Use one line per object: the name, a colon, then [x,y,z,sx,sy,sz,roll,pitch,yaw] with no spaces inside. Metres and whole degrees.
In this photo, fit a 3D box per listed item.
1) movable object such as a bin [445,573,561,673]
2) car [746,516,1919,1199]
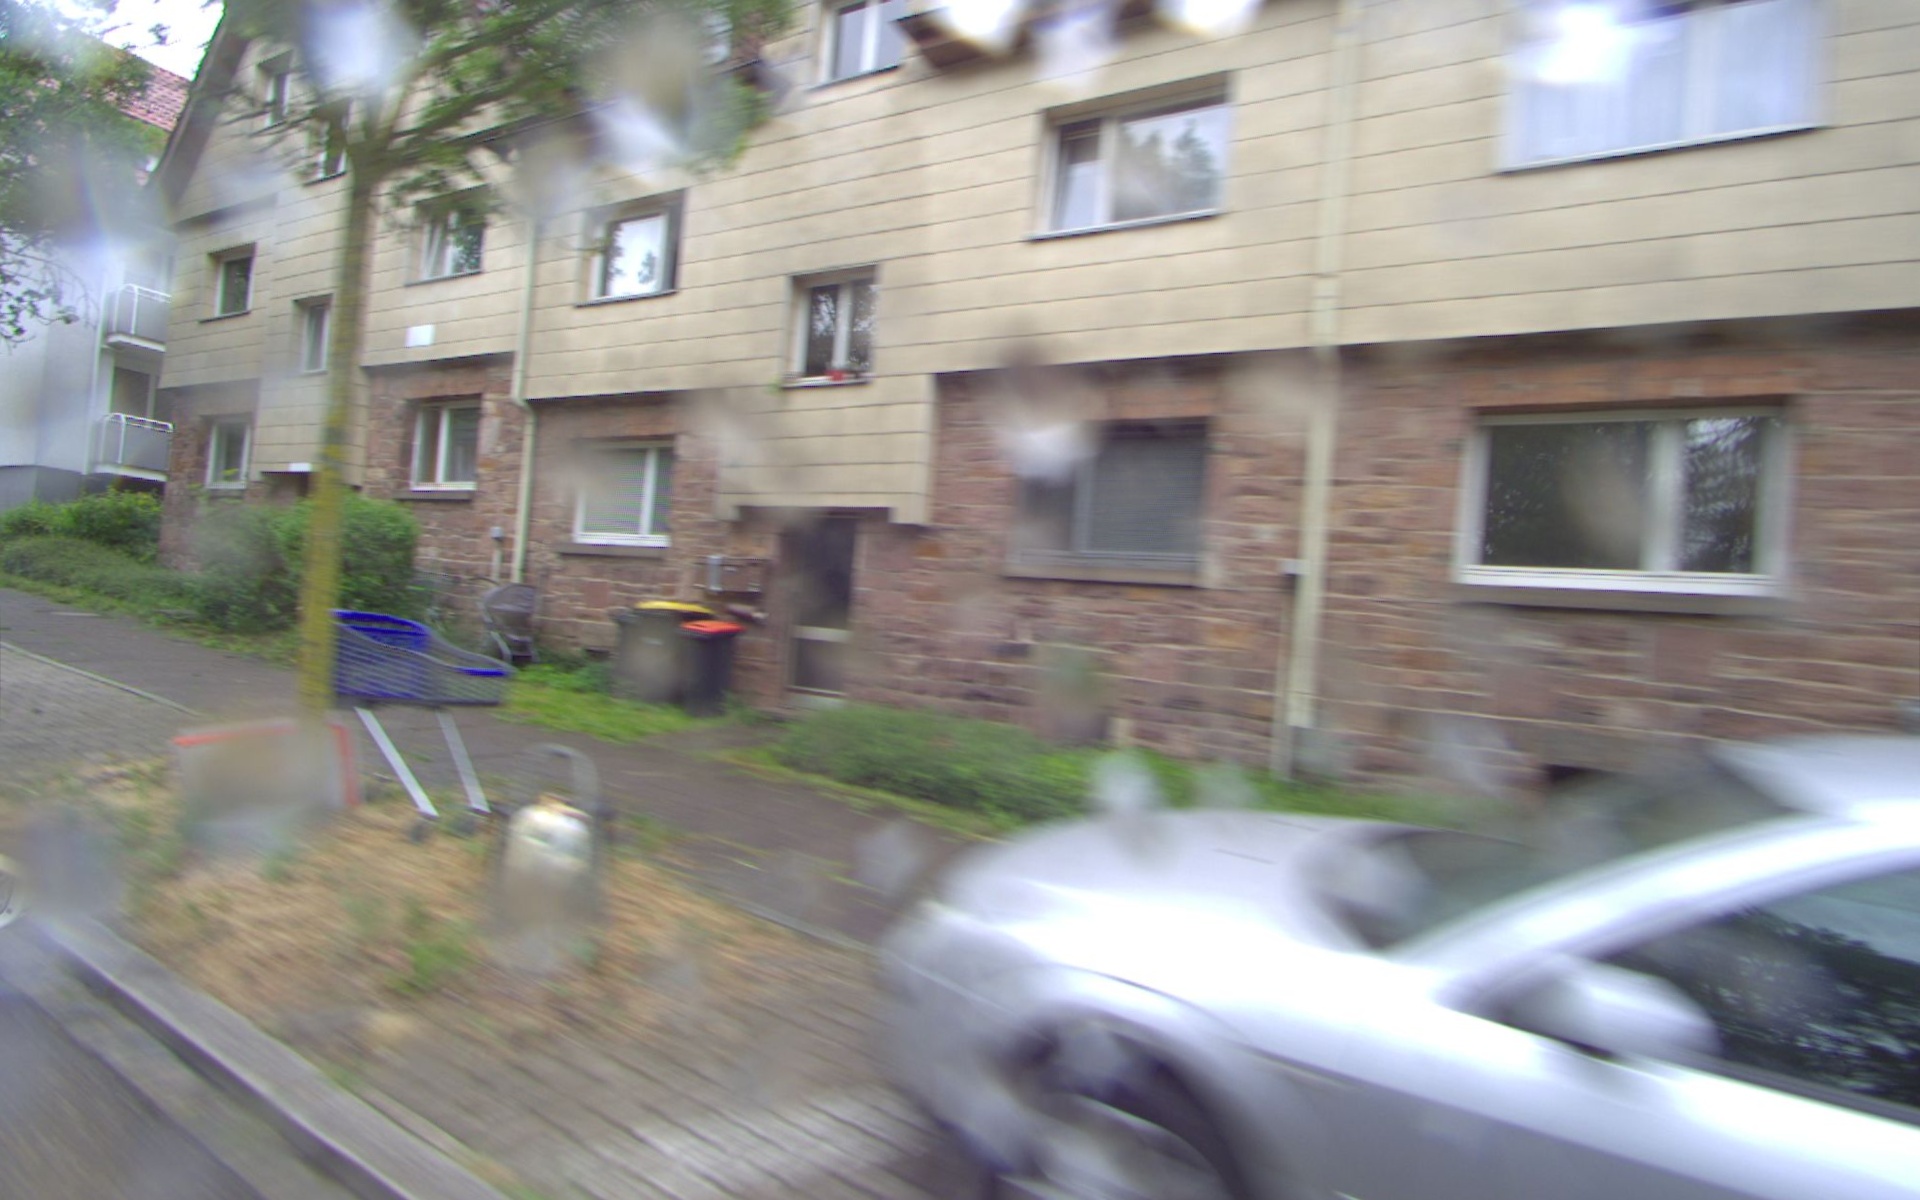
movable object such as a bin: [-5.207,0.265,11.459,0.926,0.976,0.701,8,-1,32]
car: [1.888,0.867,1.990,4.566,1.606,1.701,8,4,33]
